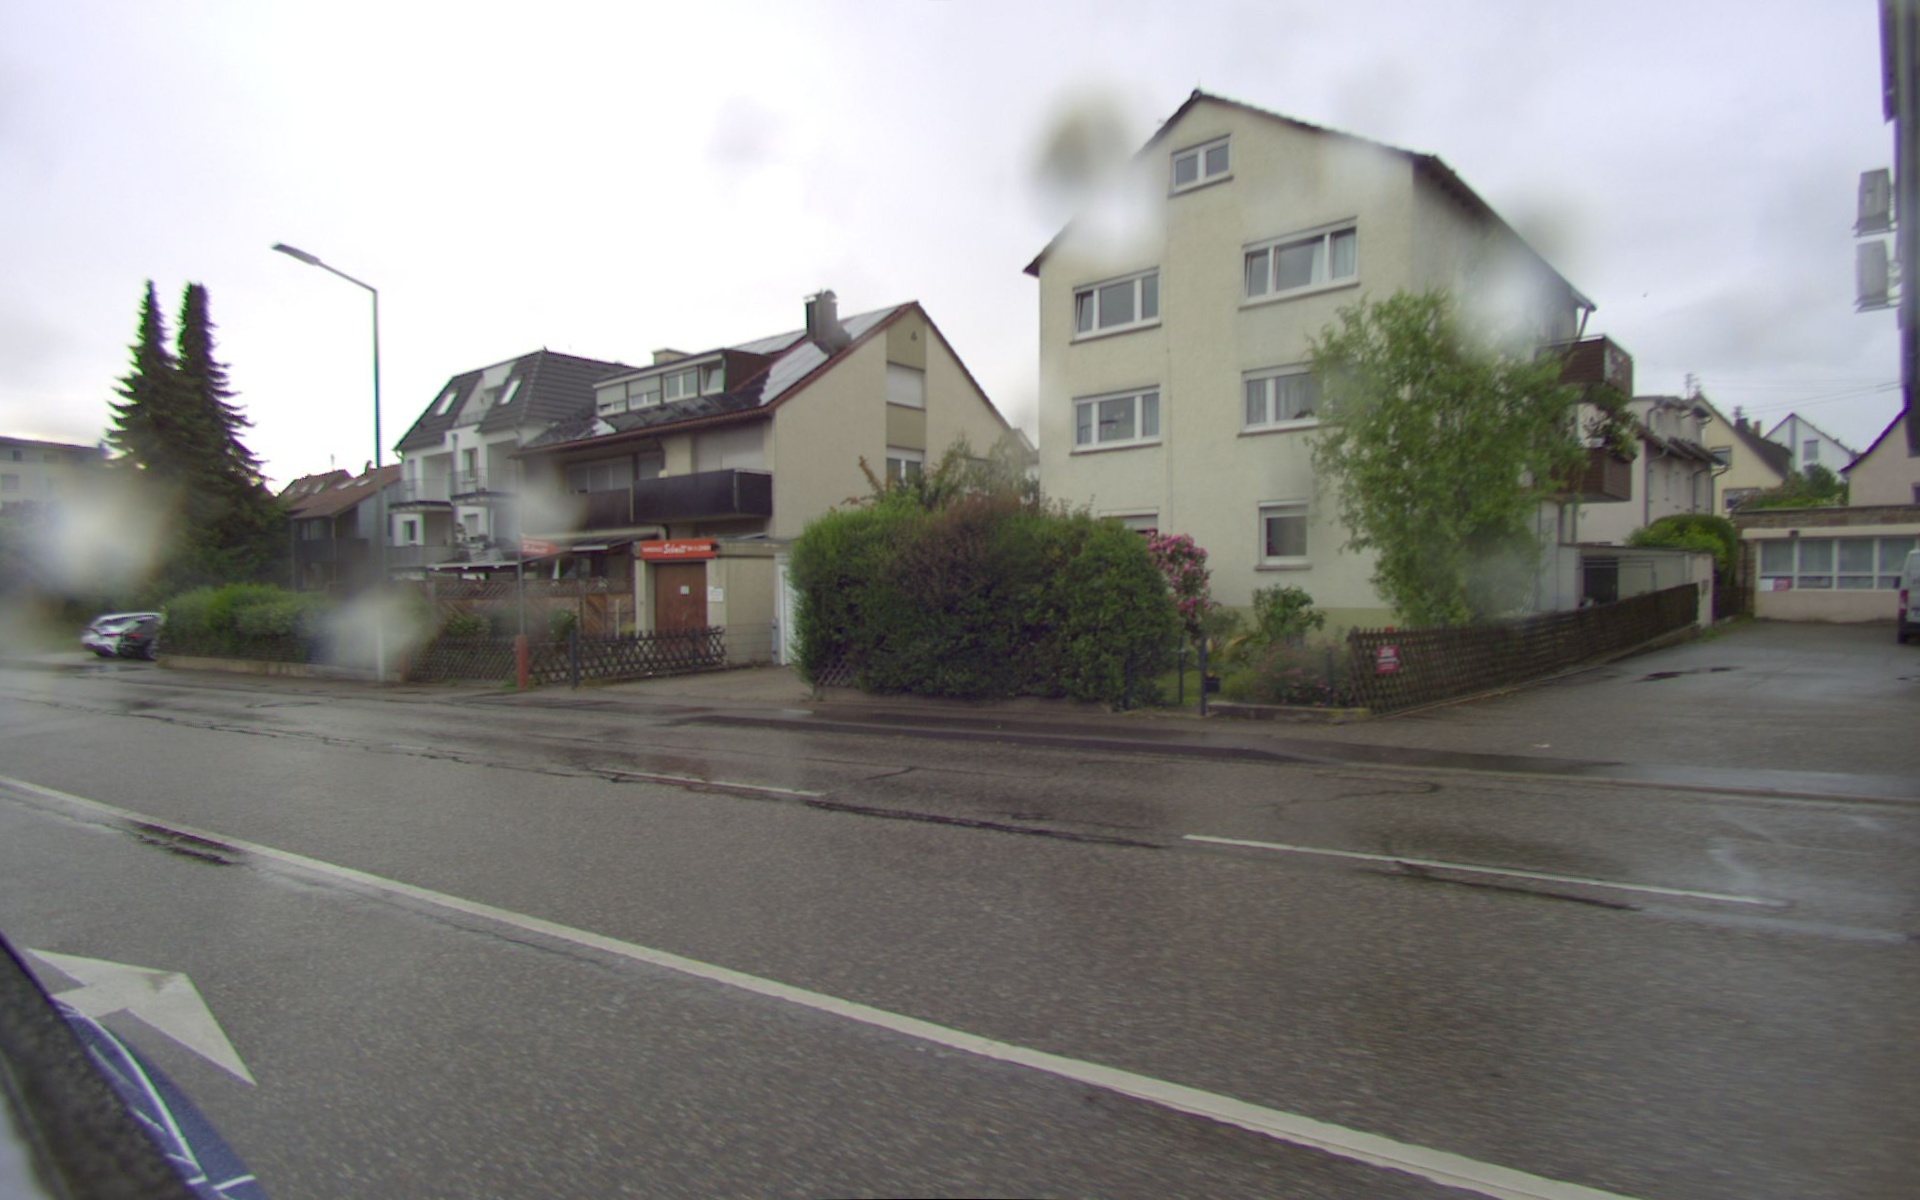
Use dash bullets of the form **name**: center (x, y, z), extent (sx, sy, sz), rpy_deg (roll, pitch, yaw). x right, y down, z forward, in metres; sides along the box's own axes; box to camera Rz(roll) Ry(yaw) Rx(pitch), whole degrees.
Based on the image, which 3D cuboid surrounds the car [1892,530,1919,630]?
- **car**: center (26.573, -0.553, 26.836), extent (5.395, 2.534, 2.438), rpy_deg (-1, -1, -44)

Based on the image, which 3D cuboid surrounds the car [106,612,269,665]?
- **car**: center (-25.806, 1.240, 33.925), extent (1.810, 1.453, 3.987), rpy_deg (-1, 2, 38)

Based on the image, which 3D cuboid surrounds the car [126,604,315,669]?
- **car**: center (-23.171, 1.085, 31.850), extent (1.999, 1.673, 4.413), rpy_deg (-1, 2, 40)

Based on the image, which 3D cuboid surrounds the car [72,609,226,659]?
- **car**: center (-29.809, 1.212, 37.288), extent (1.998, 1.557, 4.066), rpy_deg (-1, 2, 38)

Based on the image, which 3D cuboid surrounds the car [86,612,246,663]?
- **car**: center (-27.758, 1.266, 35.470), extent (1.889, 1.453, 4.105), rpy_deg (-1, 2, 40)
